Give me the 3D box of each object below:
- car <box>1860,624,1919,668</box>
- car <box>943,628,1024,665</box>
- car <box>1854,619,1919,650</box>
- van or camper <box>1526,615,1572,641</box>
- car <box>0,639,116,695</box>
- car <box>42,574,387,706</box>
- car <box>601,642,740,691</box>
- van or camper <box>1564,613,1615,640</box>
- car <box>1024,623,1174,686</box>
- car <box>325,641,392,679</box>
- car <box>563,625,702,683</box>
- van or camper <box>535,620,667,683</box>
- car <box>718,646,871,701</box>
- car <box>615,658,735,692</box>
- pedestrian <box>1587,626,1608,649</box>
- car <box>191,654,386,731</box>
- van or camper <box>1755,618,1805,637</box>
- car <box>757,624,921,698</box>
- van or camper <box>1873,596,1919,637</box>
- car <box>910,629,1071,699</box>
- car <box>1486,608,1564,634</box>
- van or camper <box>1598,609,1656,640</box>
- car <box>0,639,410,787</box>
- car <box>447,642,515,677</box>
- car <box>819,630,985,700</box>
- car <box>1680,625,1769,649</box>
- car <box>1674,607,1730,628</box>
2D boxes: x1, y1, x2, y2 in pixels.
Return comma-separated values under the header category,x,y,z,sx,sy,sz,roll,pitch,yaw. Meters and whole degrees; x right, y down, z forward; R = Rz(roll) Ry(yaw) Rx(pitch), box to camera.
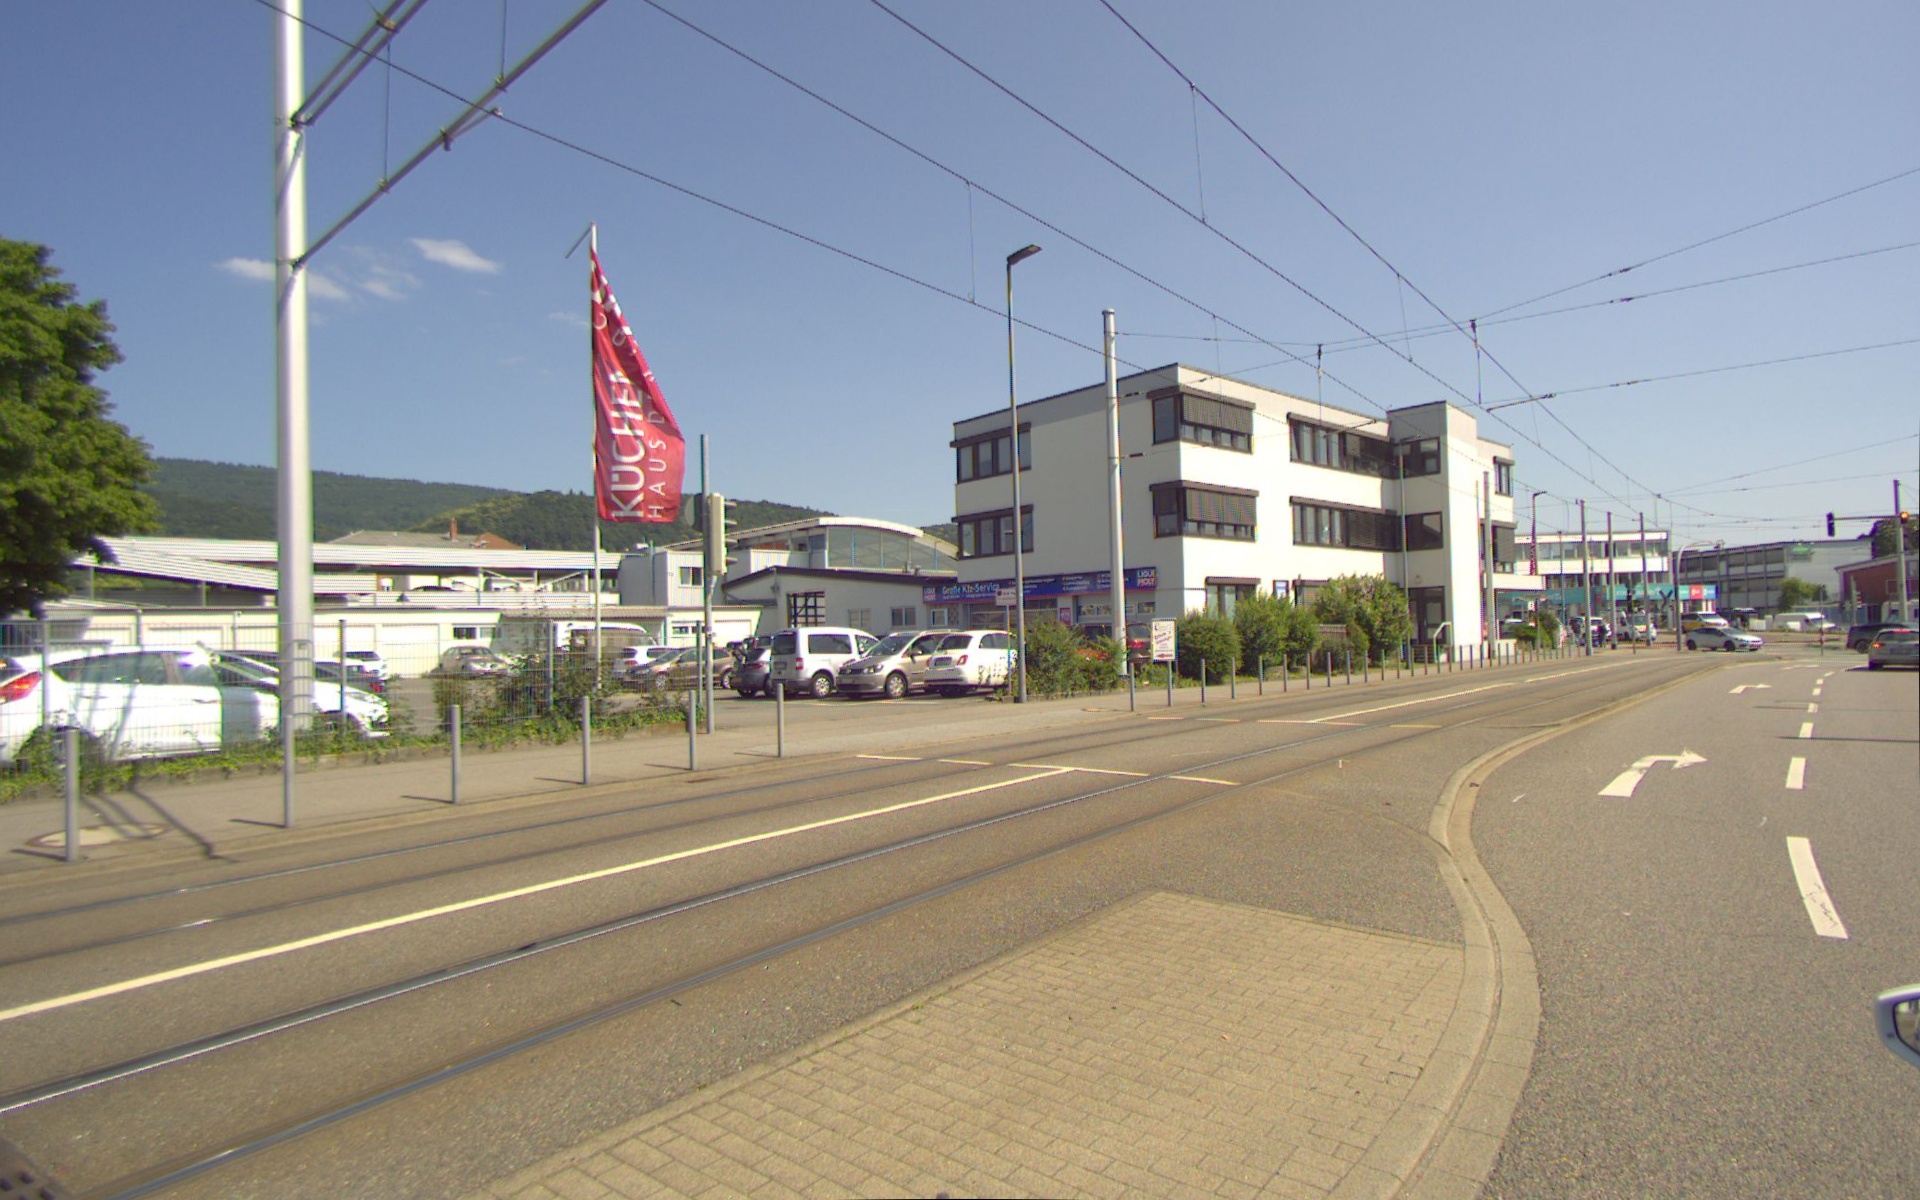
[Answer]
category,x,y,z,sx,sy,sz,roll,pitch,yaw
car,33.831,1.635,36.265,3.974,1.478,1.729,1,-3,-45
car,0.969,1.863,40.681,3.103,1.445,1.407,1,-2,-37
car,48.600,1.752,51.331,1.856,1.528,3.972,0,-2,-28
van or camper,50.289,2.356,85.878,1.960,2.040,4.764,-2,0,12
car,-27.973,1.999,30.042,1.973,1.576,3.977,-3,-3,43
car,-10.595,0.561,14.483,3.806,1.642,1.749,2,-2,-41
car,-10.316,2.327,35.952,4.393,1.578,1.967,1,-3,-43
van or camper,52.736,2.200,84.233,1.960,2.040,5.012,-2,0,12
car,4.052,1.585,29.640,3.945,1.728,1.988,-3,-3,44
car,-25.046,2.467,41.756,1.982,1.435,3.958,0,-3,-37
car,-12.170,1.970,37.513,4.547,2.040,2.032,1,-3,-43
van or camper,-14.006,1.958,39.341,1.758,2.336,4.573,-2,-2,45
car,-4.669,2.040,28.645,3.968,1.376,1.826,1,-3,-41
car,-9.433,2.460,33.381,3.460,0.996,1.729,1,-3,-41
pedestrian,41.296,2.406,65.052,1.114,1.474,0.835,-2,-2,33
car,-14.963,2.000,22.489,1.495,1.504,3.373,-3,-3,40
van or camper,88.044,2.984,107.893,1.962,1.973,3.999,-1,-2,-4
car,-3.215,1.586,27.020,3.969,1.808,1.977,1,-3,-41
van or camper,72.747,1.252,75.222,2.307,2.969,6.986,-2,0,0
car,0.799,1.504,24.466,3.808,1.562,1.720,1,-3,-42
car,35.956,1.329,63.989,1.987,1.539,3.947,-2,0,-45
van or camper,55.359,1.963,83.502,1.997,2.327,5.815,-2,0,12
car,-8.952,1.195,11.904,1.688,1.452,3.936,-2,-3,40
car,-21.519,2.646,45.062,1.982,1.435,3.958,0,-3,-37
car,-1.414,1.584,25.405,3.905,1.588,1.835,1,-3,-41
car,46.740,2.256,61.503,1.771,1.393,4.196,0,-2,-12
car,67.269,1.623,91.185,1.905,1.782,5.126,-1,-2,9
